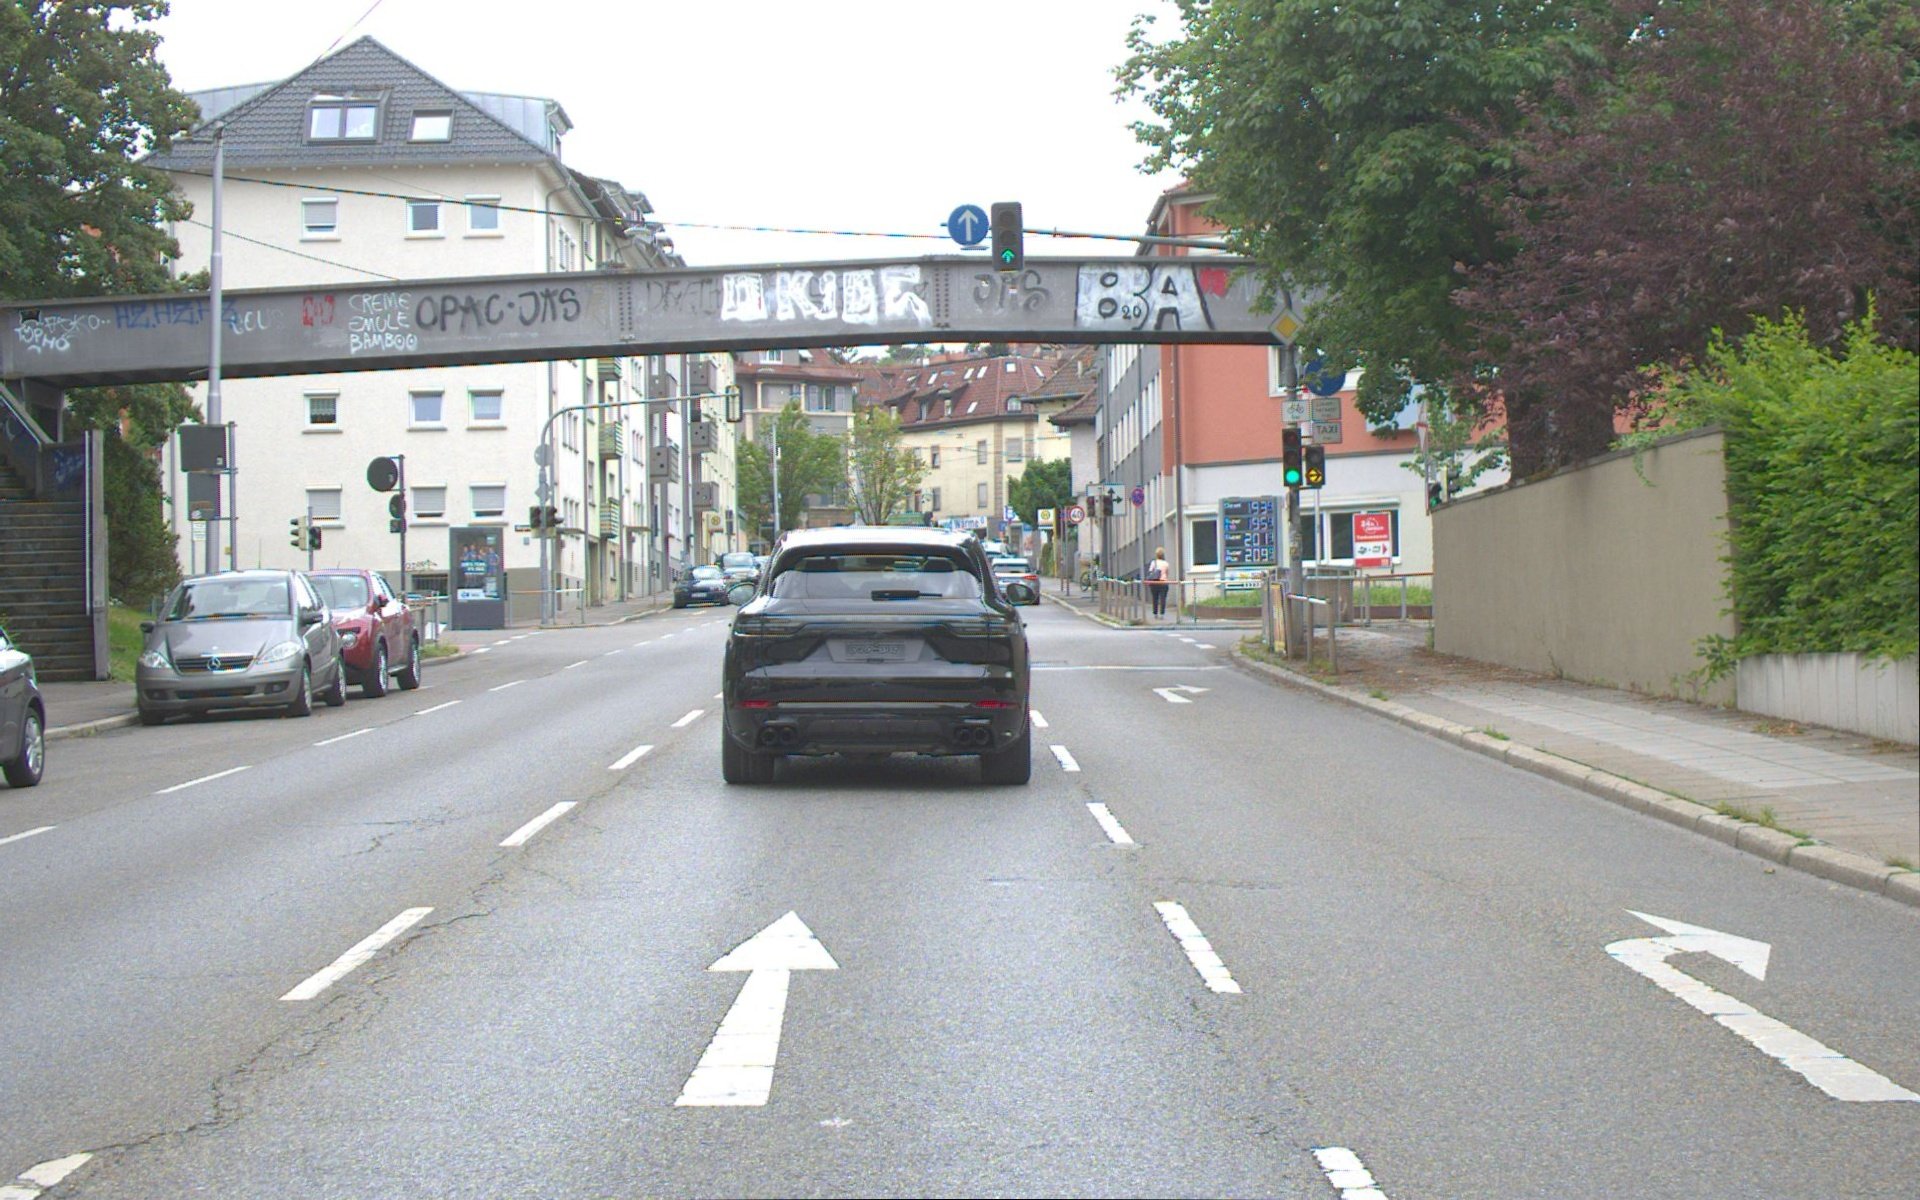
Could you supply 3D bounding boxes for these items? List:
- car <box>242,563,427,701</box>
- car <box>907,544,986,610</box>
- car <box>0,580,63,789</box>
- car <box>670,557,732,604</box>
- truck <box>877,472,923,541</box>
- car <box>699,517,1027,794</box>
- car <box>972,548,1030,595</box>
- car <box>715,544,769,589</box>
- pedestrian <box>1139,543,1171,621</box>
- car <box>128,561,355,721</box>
[{"bbox_3d":[-7.639,0.353,42.268,1.533,1.535,3.982,-2,1,-1],"label":"car"},{"bbox_3d":[-0.298,-0.540,78.269,1.741,1.395,4.000,0,2,0],"label":"car"},{"bbox_3d":[-7.576,0.641,23.681,1.745,1.434,3.913,-2,1,-1],"label":"car"},{"bbox_3d":[-8.651,-0.652,115.065,1.765,1.503,4.000,-1,1,0],"label":"car"},{"bbox_3d":[-3.075,-4.788,177.416,2.266,3.412,9.879,-1,1,-1],"label":"truck"},{"bbox_3d":[-0.602,0.293,23.049,1.993,1.656,4.000,0,2,0],"label":"car"},{"bbox_3d":[1.270,-0.907,107.836,1.741,1.395,4.000,0,2,0],"label":"car"},{"bbox_3d":[-8.337,-1.293,131.558,1.765,1.644,4.000,-1,1,0],"label":"car"},{"bbox_3d":[4.470,-0.414,78.872,0.652,1.786,0.715,-1,1,-3],"label":"pedestrian"},{"bbox_3d":[-7.754,0.403,37.415,1.745,1.563,3.909,-2,1,-2],"label":"car"}]
